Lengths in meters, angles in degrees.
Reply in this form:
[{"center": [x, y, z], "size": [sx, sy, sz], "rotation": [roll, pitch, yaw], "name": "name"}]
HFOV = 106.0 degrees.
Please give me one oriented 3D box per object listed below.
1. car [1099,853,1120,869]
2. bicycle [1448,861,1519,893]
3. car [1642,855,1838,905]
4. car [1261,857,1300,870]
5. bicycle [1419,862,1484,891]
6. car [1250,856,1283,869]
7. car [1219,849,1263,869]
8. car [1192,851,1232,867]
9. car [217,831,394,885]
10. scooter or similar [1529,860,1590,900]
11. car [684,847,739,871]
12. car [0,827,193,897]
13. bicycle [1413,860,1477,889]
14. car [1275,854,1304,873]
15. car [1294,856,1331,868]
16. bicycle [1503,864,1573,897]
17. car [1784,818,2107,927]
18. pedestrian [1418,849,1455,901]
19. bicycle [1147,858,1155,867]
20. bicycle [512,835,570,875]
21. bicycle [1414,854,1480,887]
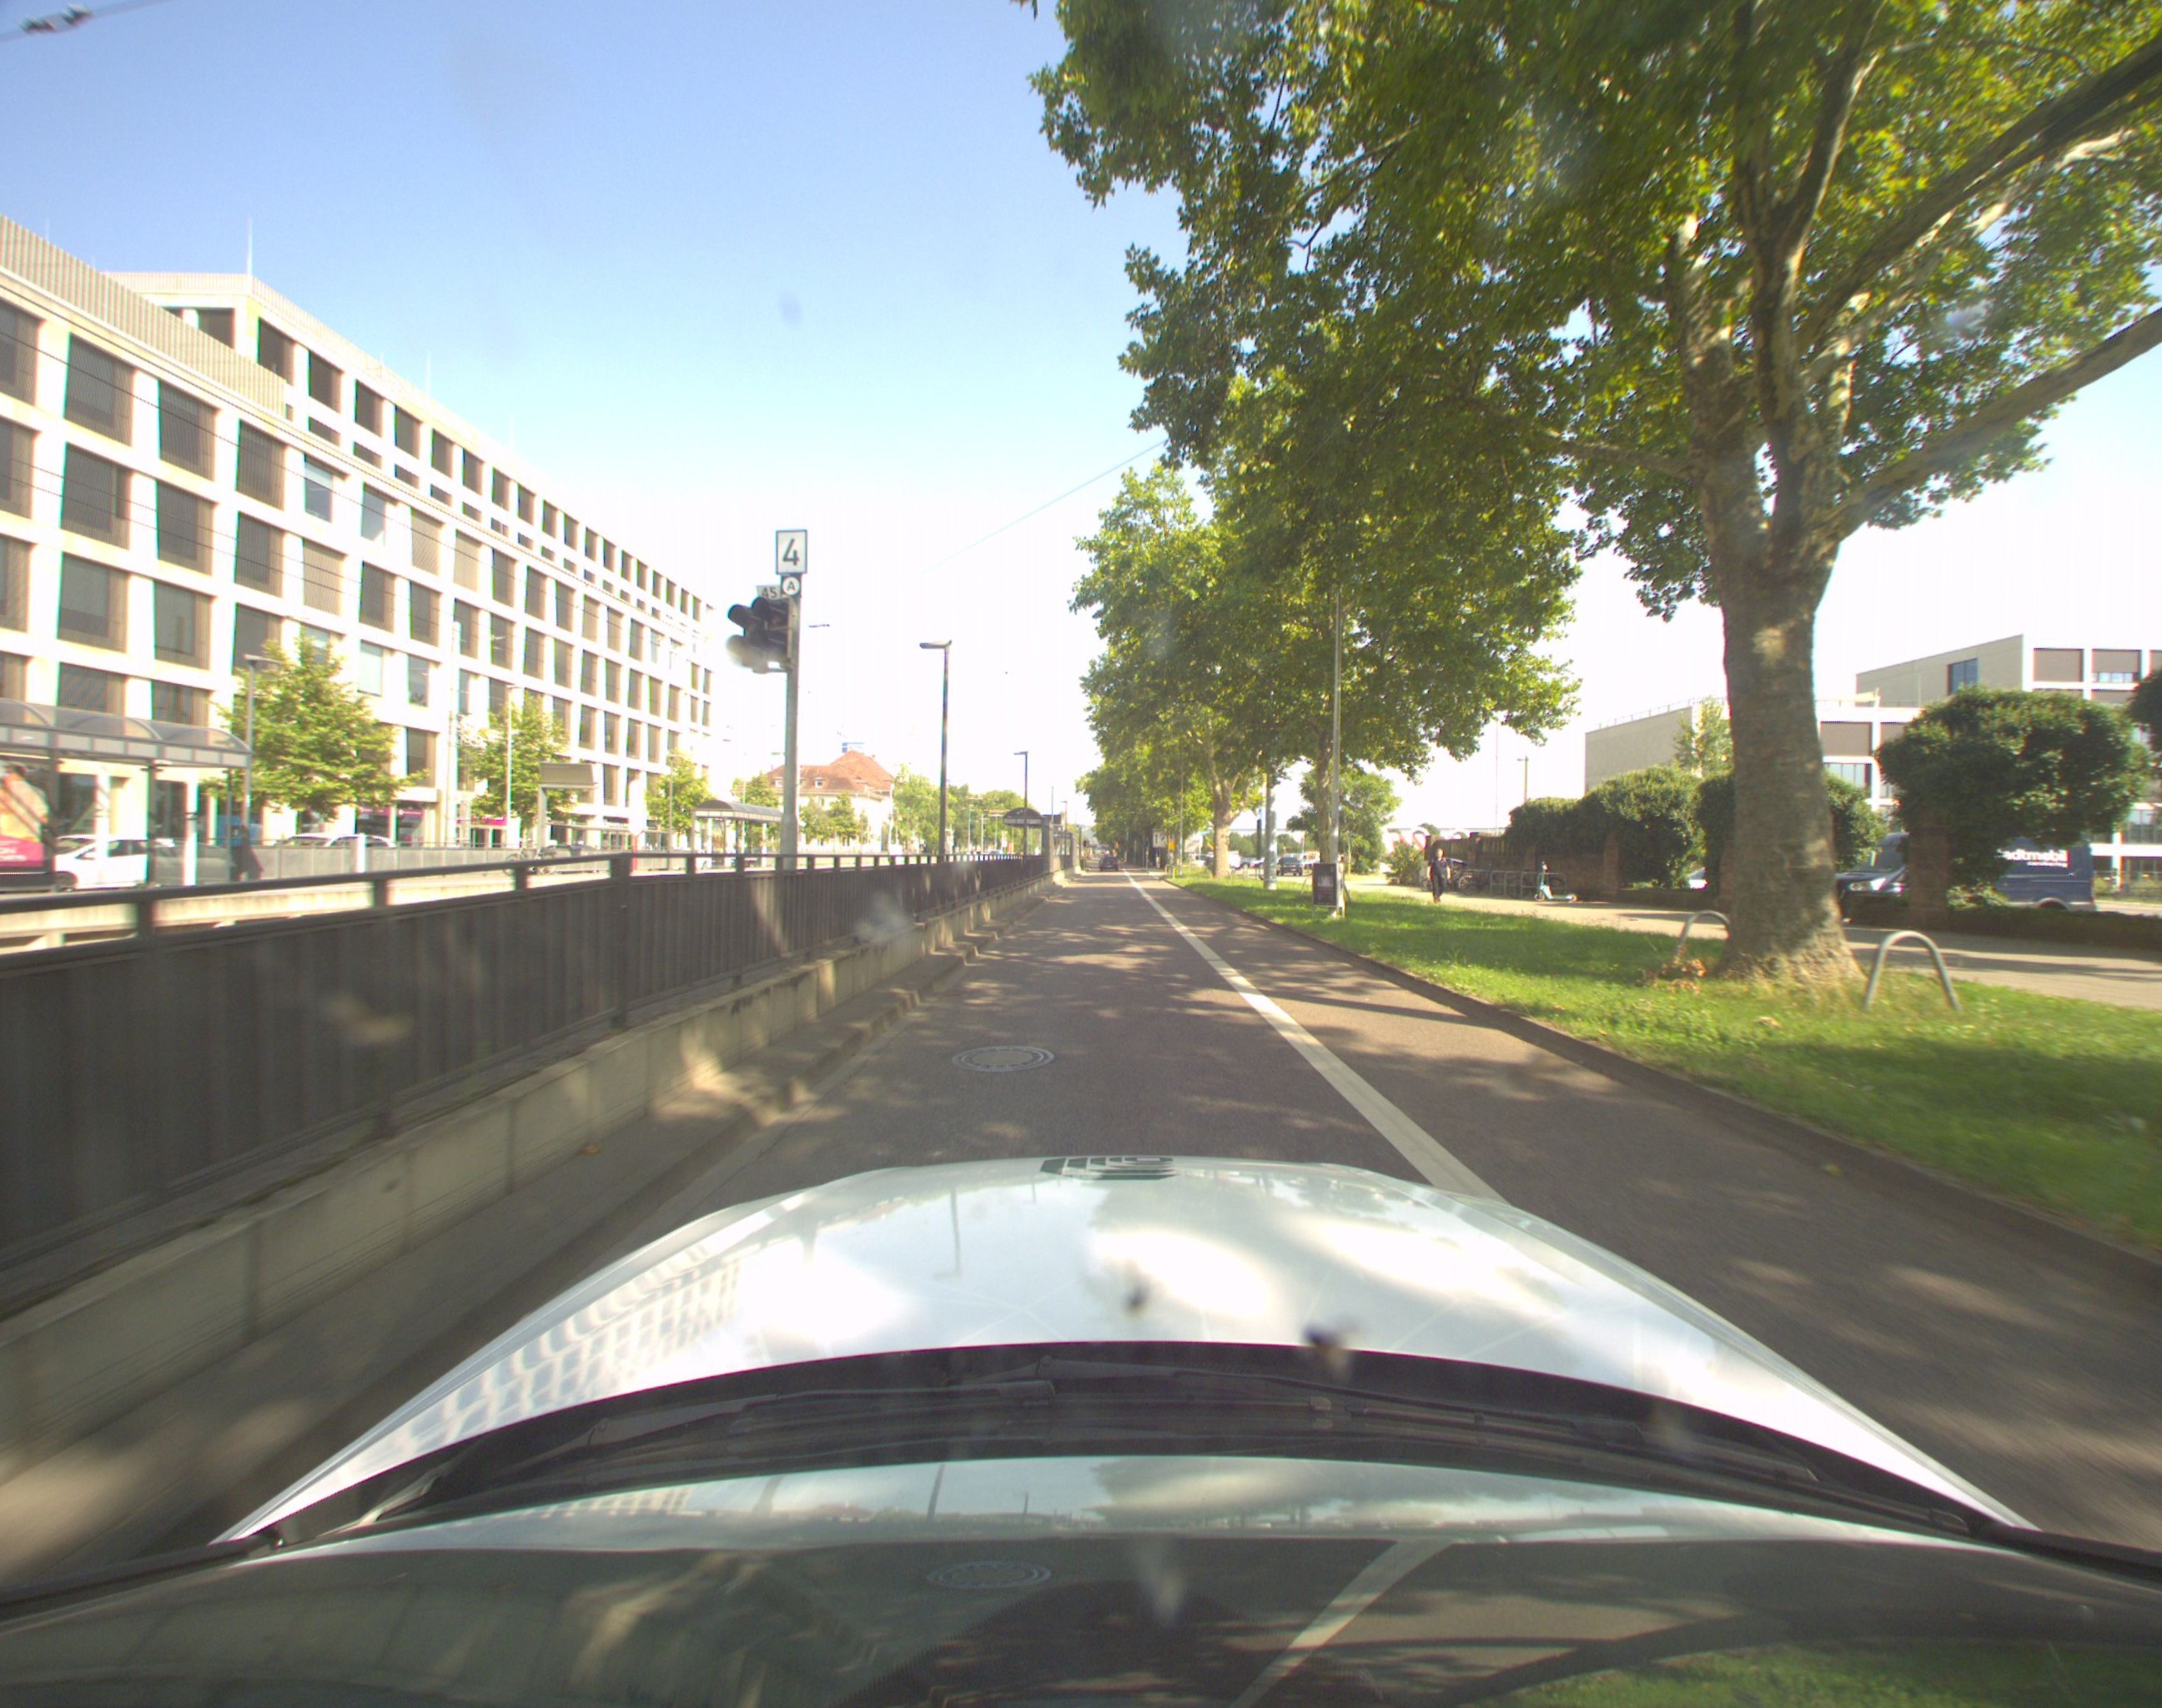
[{"center": [2.738, 0.676, 78.824], "size": [1.901, 1.537, 4.000], "rotation": [-1, 0, 1], "name": "car"}, {"center": [14.423, 0.818, 29.206], "size": [2.167, 1.076, 0.743], "rotation": [1, 0, -1], "name": "bicycle"}, {"center": [21.012, 0.809, 26.070], "size": [4.891, 1.479, 2.181], "rotation": [1, 0, -8], "name": "car"}, {"center": [24.480, 1.166, 100.143], "size": [4.330, 1.464, 1.947], "rotation": [1, -1, -1], "name": "car"}, {"center": [14.289, 0.866, 31.439], "size": [2.163, 1.076, 0.744], "rotation": [-2, -1, 4], "name": "bicycle"}, {"center": [26.983, 1.262, 118.222], "size": [4.330, 1.712, 1.947], "rotation": [1, -1, -1], "name": "car"}, {"center": [16.006, 0.509, 81.637], "size": [4.085, 1.918, 1.850], "rotation": [-1, 0, 4], "name": "car"}, {"center": [13.901, 0.558, 86.825], "size": [3.973, 1.586, 2.000], "rotation": [1, 0, 0], "name": "car"}, {"center": [-24.916, 0.125, 26.394], "size": [1.758, 1.603, 4.131], "rotation": [0, 0, 0], "name": "car"}, {"center": [14.619, 0.799, 24.895], "size": [1.498, 1.191, 0.539], "rotation": [-1, -1, 5], "name": "scooter or similar"}, {"center": [-23.997, 0.318, 53.025], "size": [1.705, 1.446, 4.007], "rotation": [0, 0, 0], "name": "car"}, {"center": [-25.000, 0.189, 20.021], "size": [1.758, 1.574, 4.131], "rotation": [0, 0, 0], "name": "car"}, {"center": [14.402, 0.819, 32.246], "size": [2.163, 1.076, 0.744], "rotation": [-2, -1, 4], "name": "bicycle"}, {"center": [17.750, 0.780, 69.517], "size": [1.601, 1.575, 3.798], "rotation": [0, 0, 2], "name": "car"}, {"center": [30.221, 1.086, 106.438], "size": [4.330, 1.464, 1.947], "rotation": [1, -1, -1], "name": "car"}, {"center": [14.618, 0.848, 26.085], "size": [1.861, 1.006, 0.735], "rotation": [1, 0, -1], "name": "bicycle"}, {"center": [20.743, 0.420, 19.780], "size": [5.353, 2.434, 2.252], "rotation": [1, 0, 3], "name": "car"}, {"center": [10.548, 0.599, 24.199], "size": [0.781, 1.515, 0.787], "rotation": [0, 0, 1], "name": "pedestrian"}, {"center": [8.324, 0.980, 97.300], "size": [0.609, 1.022, 2.400], "rotation": [1, 0, -2], "name": "bicycle"}, {"center": [-16.299, 0.038, 24.623], "size": [0.467, 1.147, 1.490], "rotation": [1, 0, 16], "name": "bicycle"}, {"center": [15.130, 0.691, 33.725], "size": [2.236, 1.277, 0.999], "rotation": [-1, -1, 0], "name": "bicycle"}]
